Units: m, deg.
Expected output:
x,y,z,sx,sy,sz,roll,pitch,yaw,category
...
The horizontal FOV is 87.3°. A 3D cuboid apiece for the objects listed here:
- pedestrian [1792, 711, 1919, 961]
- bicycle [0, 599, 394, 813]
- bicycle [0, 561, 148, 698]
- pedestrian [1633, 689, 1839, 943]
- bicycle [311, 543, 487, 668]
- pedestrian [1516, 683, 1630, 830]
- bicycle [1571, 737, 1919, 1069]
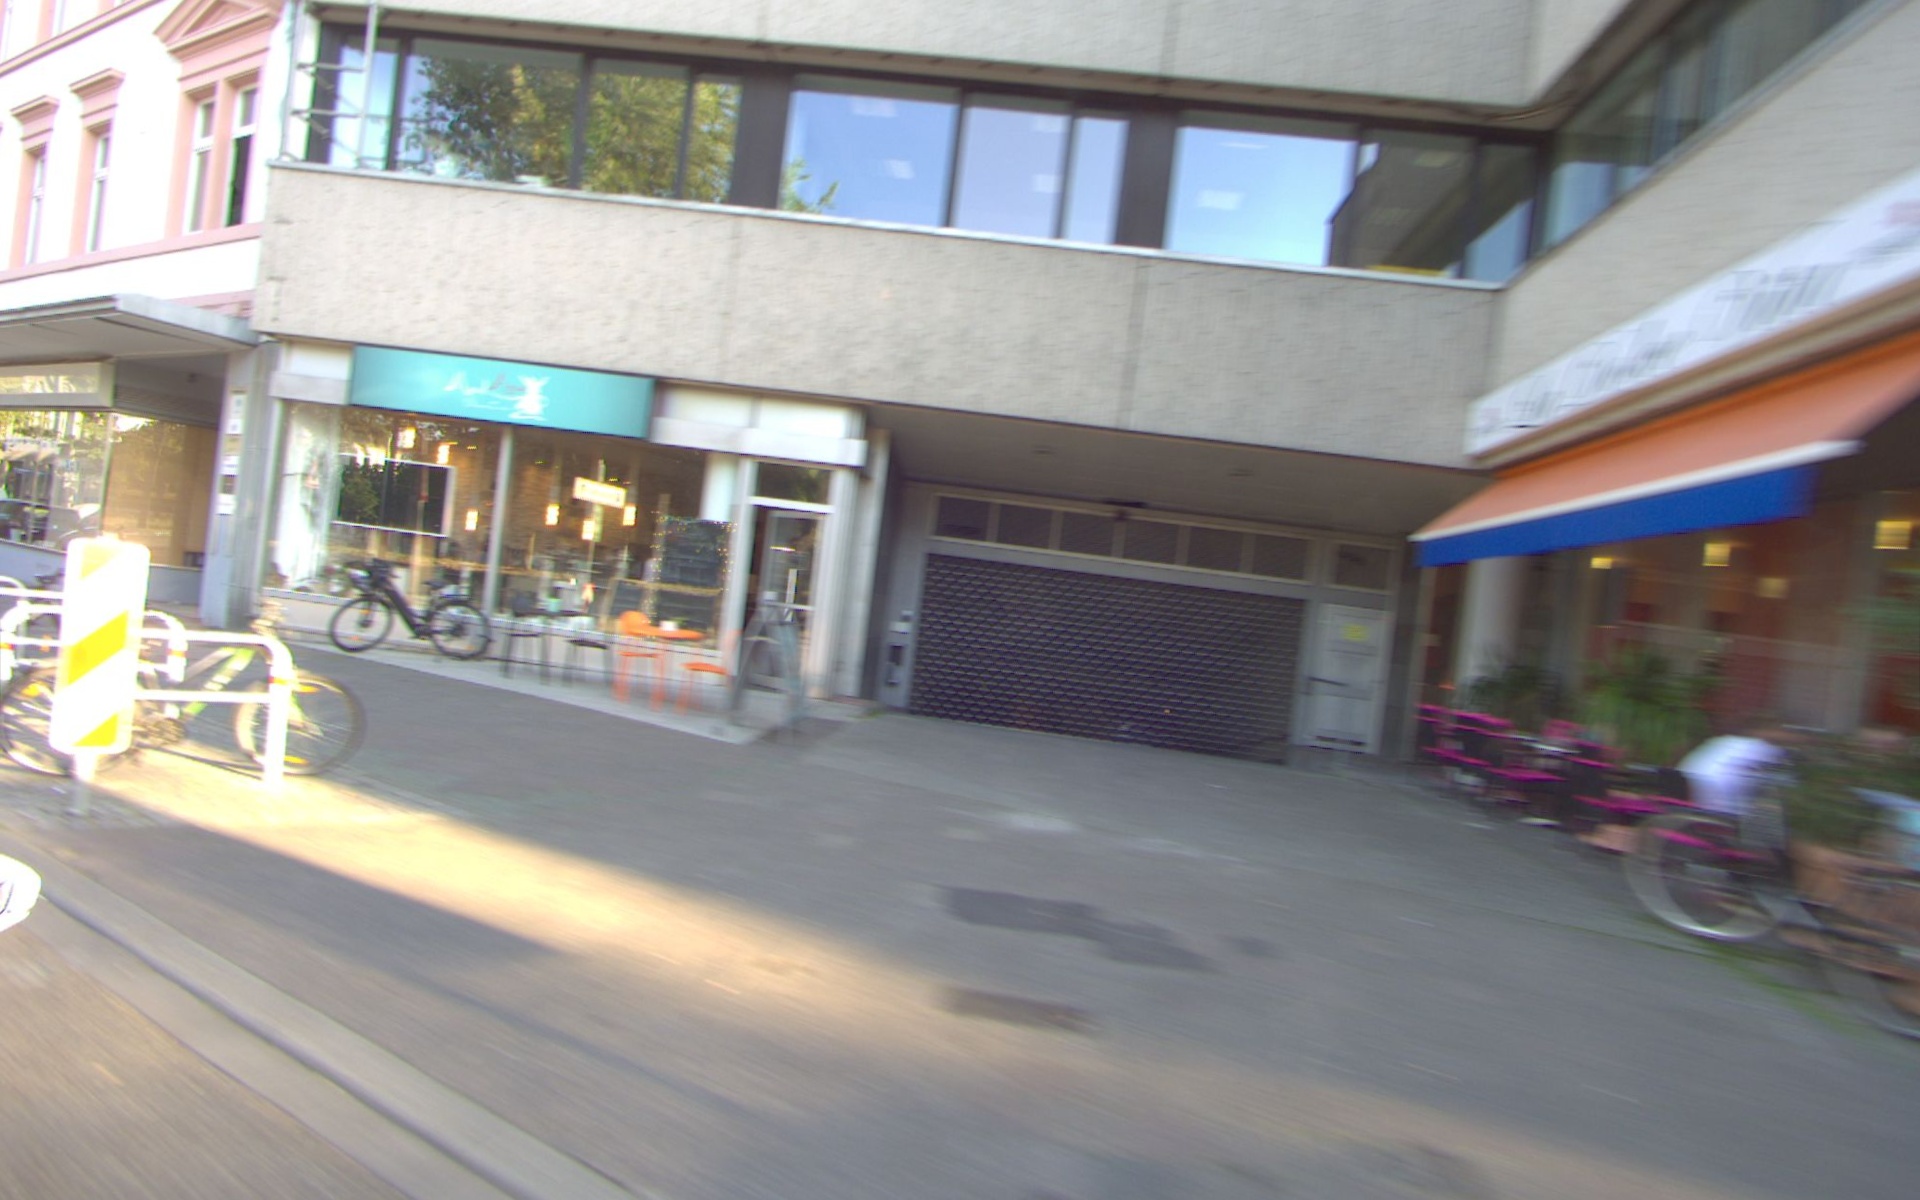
x,y,z,sx,sy,sz,roll,pitch,yaw,category
5.389,1.349,5.914,0.528,1.294,0.705,7,1,30,pedestrian
-4.327,0.566,5.742,0.534,1.003,1.783,9,3,42,bicycle
-7.599,0.217,7.945,1.777,1.003,0.536,5,3,-37,bicycle
4.644,1.256,6.081,0.694,1.313,0.641,7,2,21,pedestrian
-6.378,0.069,11.494,1.636,1.293,0.414,4,1,-12,bicycle
5.828,1.471,9.593,0.603,1.255,0.558,7,1,5,pedestrian
3.944,1.345,4.921,0.450,1.018,1.888,5,1,-8,bicycle
